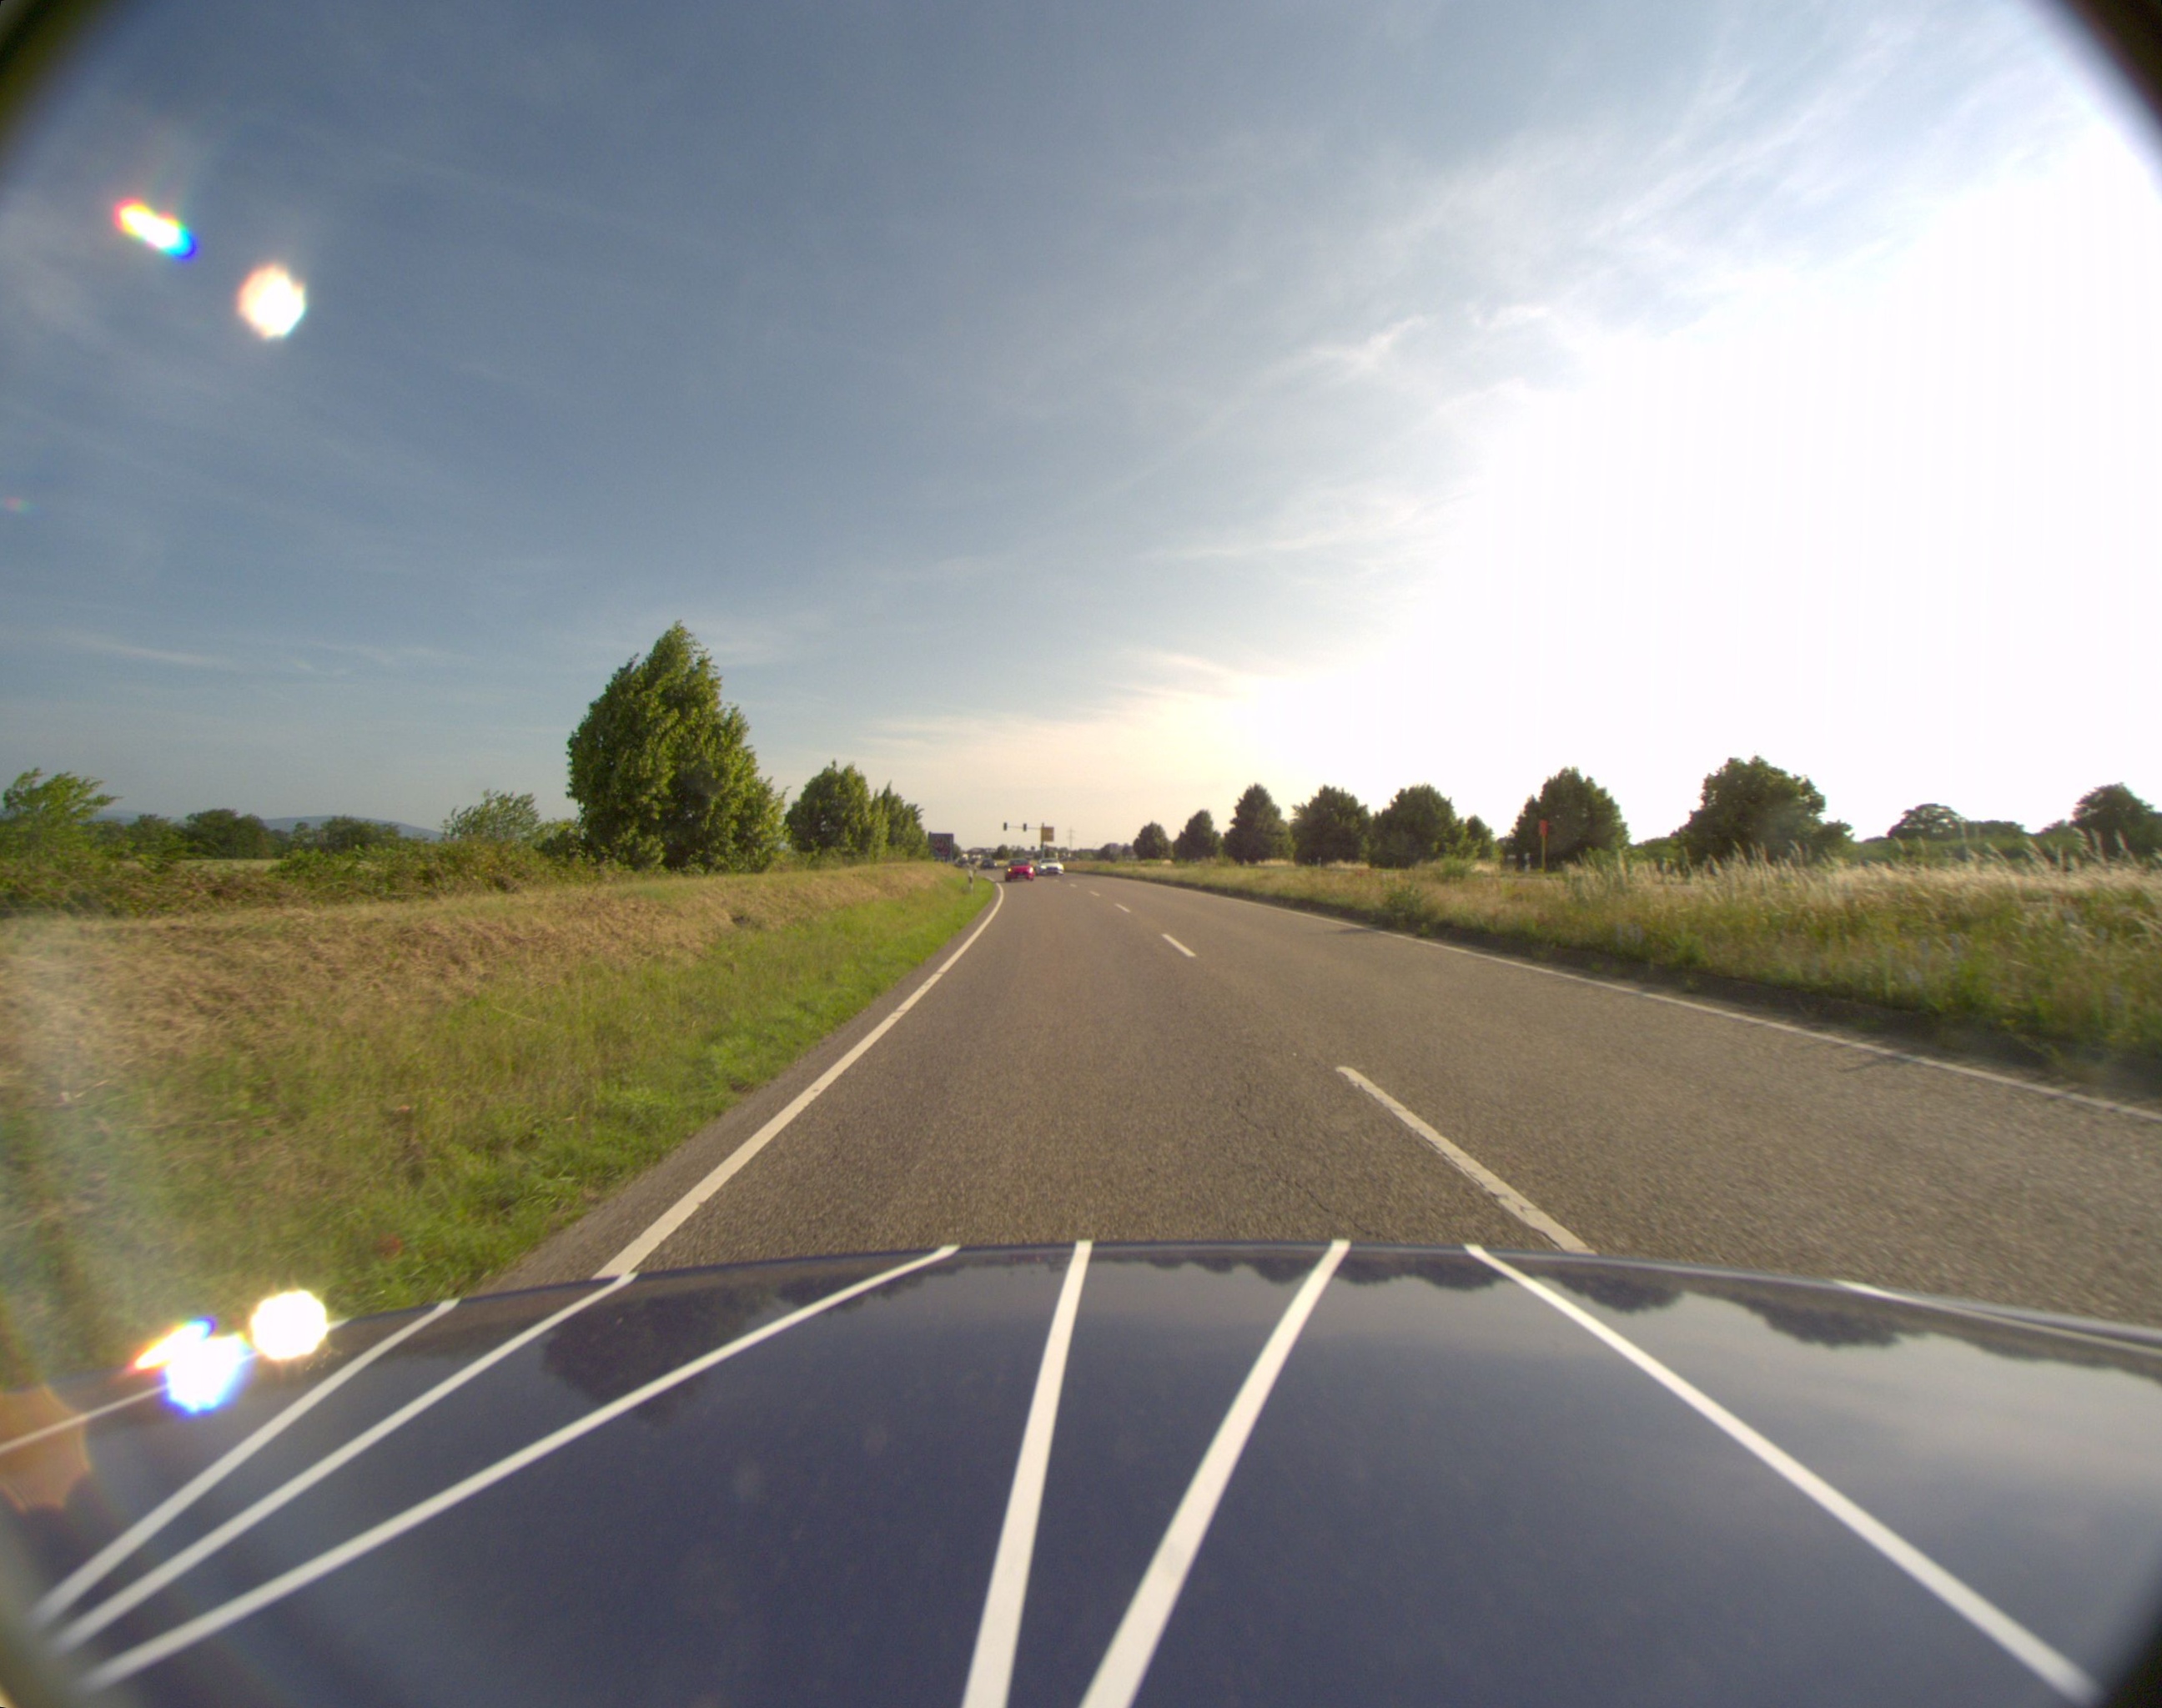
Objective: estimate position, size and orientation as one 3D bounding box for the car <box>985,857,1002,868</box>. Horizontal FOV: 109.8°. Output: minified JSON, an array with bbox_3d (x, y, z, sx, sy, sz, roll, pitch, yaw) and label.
[{"bbox_3d":[-11.792,1.127,102.353,1.753,1.521,3.995,-1,0,-13],"label":"car"}]

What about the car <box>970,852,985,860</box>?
[{"bbox_3d":[-22.271,0.422,163.228,1.921,1.556,4.601,-2,0,-25],"label":"car"}]

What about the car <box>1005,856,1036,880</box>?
[{"bbox_3d":[-4.020,0.917,50.274,1.667,1.455,3.951,-2,1,-10],"label":"car"}]

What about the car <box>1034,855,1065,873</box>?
[{"bbox_3d":[-2.636,0.829,62.593,1.877,1.390,4.200,-1,0,-12],"label":"car"}]

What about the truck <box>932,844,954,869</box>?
[{"bbox_3d":[-22.016,0.375,120.970,2.655,3.897,5.941,-2,1,-16],"label":"truck"}]

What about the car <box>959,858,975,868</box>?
[{"bbox_3d":[-18.474,1.400,122.991,1.833,1.521,3.994,-1,0,-17],"label":"car"}]
